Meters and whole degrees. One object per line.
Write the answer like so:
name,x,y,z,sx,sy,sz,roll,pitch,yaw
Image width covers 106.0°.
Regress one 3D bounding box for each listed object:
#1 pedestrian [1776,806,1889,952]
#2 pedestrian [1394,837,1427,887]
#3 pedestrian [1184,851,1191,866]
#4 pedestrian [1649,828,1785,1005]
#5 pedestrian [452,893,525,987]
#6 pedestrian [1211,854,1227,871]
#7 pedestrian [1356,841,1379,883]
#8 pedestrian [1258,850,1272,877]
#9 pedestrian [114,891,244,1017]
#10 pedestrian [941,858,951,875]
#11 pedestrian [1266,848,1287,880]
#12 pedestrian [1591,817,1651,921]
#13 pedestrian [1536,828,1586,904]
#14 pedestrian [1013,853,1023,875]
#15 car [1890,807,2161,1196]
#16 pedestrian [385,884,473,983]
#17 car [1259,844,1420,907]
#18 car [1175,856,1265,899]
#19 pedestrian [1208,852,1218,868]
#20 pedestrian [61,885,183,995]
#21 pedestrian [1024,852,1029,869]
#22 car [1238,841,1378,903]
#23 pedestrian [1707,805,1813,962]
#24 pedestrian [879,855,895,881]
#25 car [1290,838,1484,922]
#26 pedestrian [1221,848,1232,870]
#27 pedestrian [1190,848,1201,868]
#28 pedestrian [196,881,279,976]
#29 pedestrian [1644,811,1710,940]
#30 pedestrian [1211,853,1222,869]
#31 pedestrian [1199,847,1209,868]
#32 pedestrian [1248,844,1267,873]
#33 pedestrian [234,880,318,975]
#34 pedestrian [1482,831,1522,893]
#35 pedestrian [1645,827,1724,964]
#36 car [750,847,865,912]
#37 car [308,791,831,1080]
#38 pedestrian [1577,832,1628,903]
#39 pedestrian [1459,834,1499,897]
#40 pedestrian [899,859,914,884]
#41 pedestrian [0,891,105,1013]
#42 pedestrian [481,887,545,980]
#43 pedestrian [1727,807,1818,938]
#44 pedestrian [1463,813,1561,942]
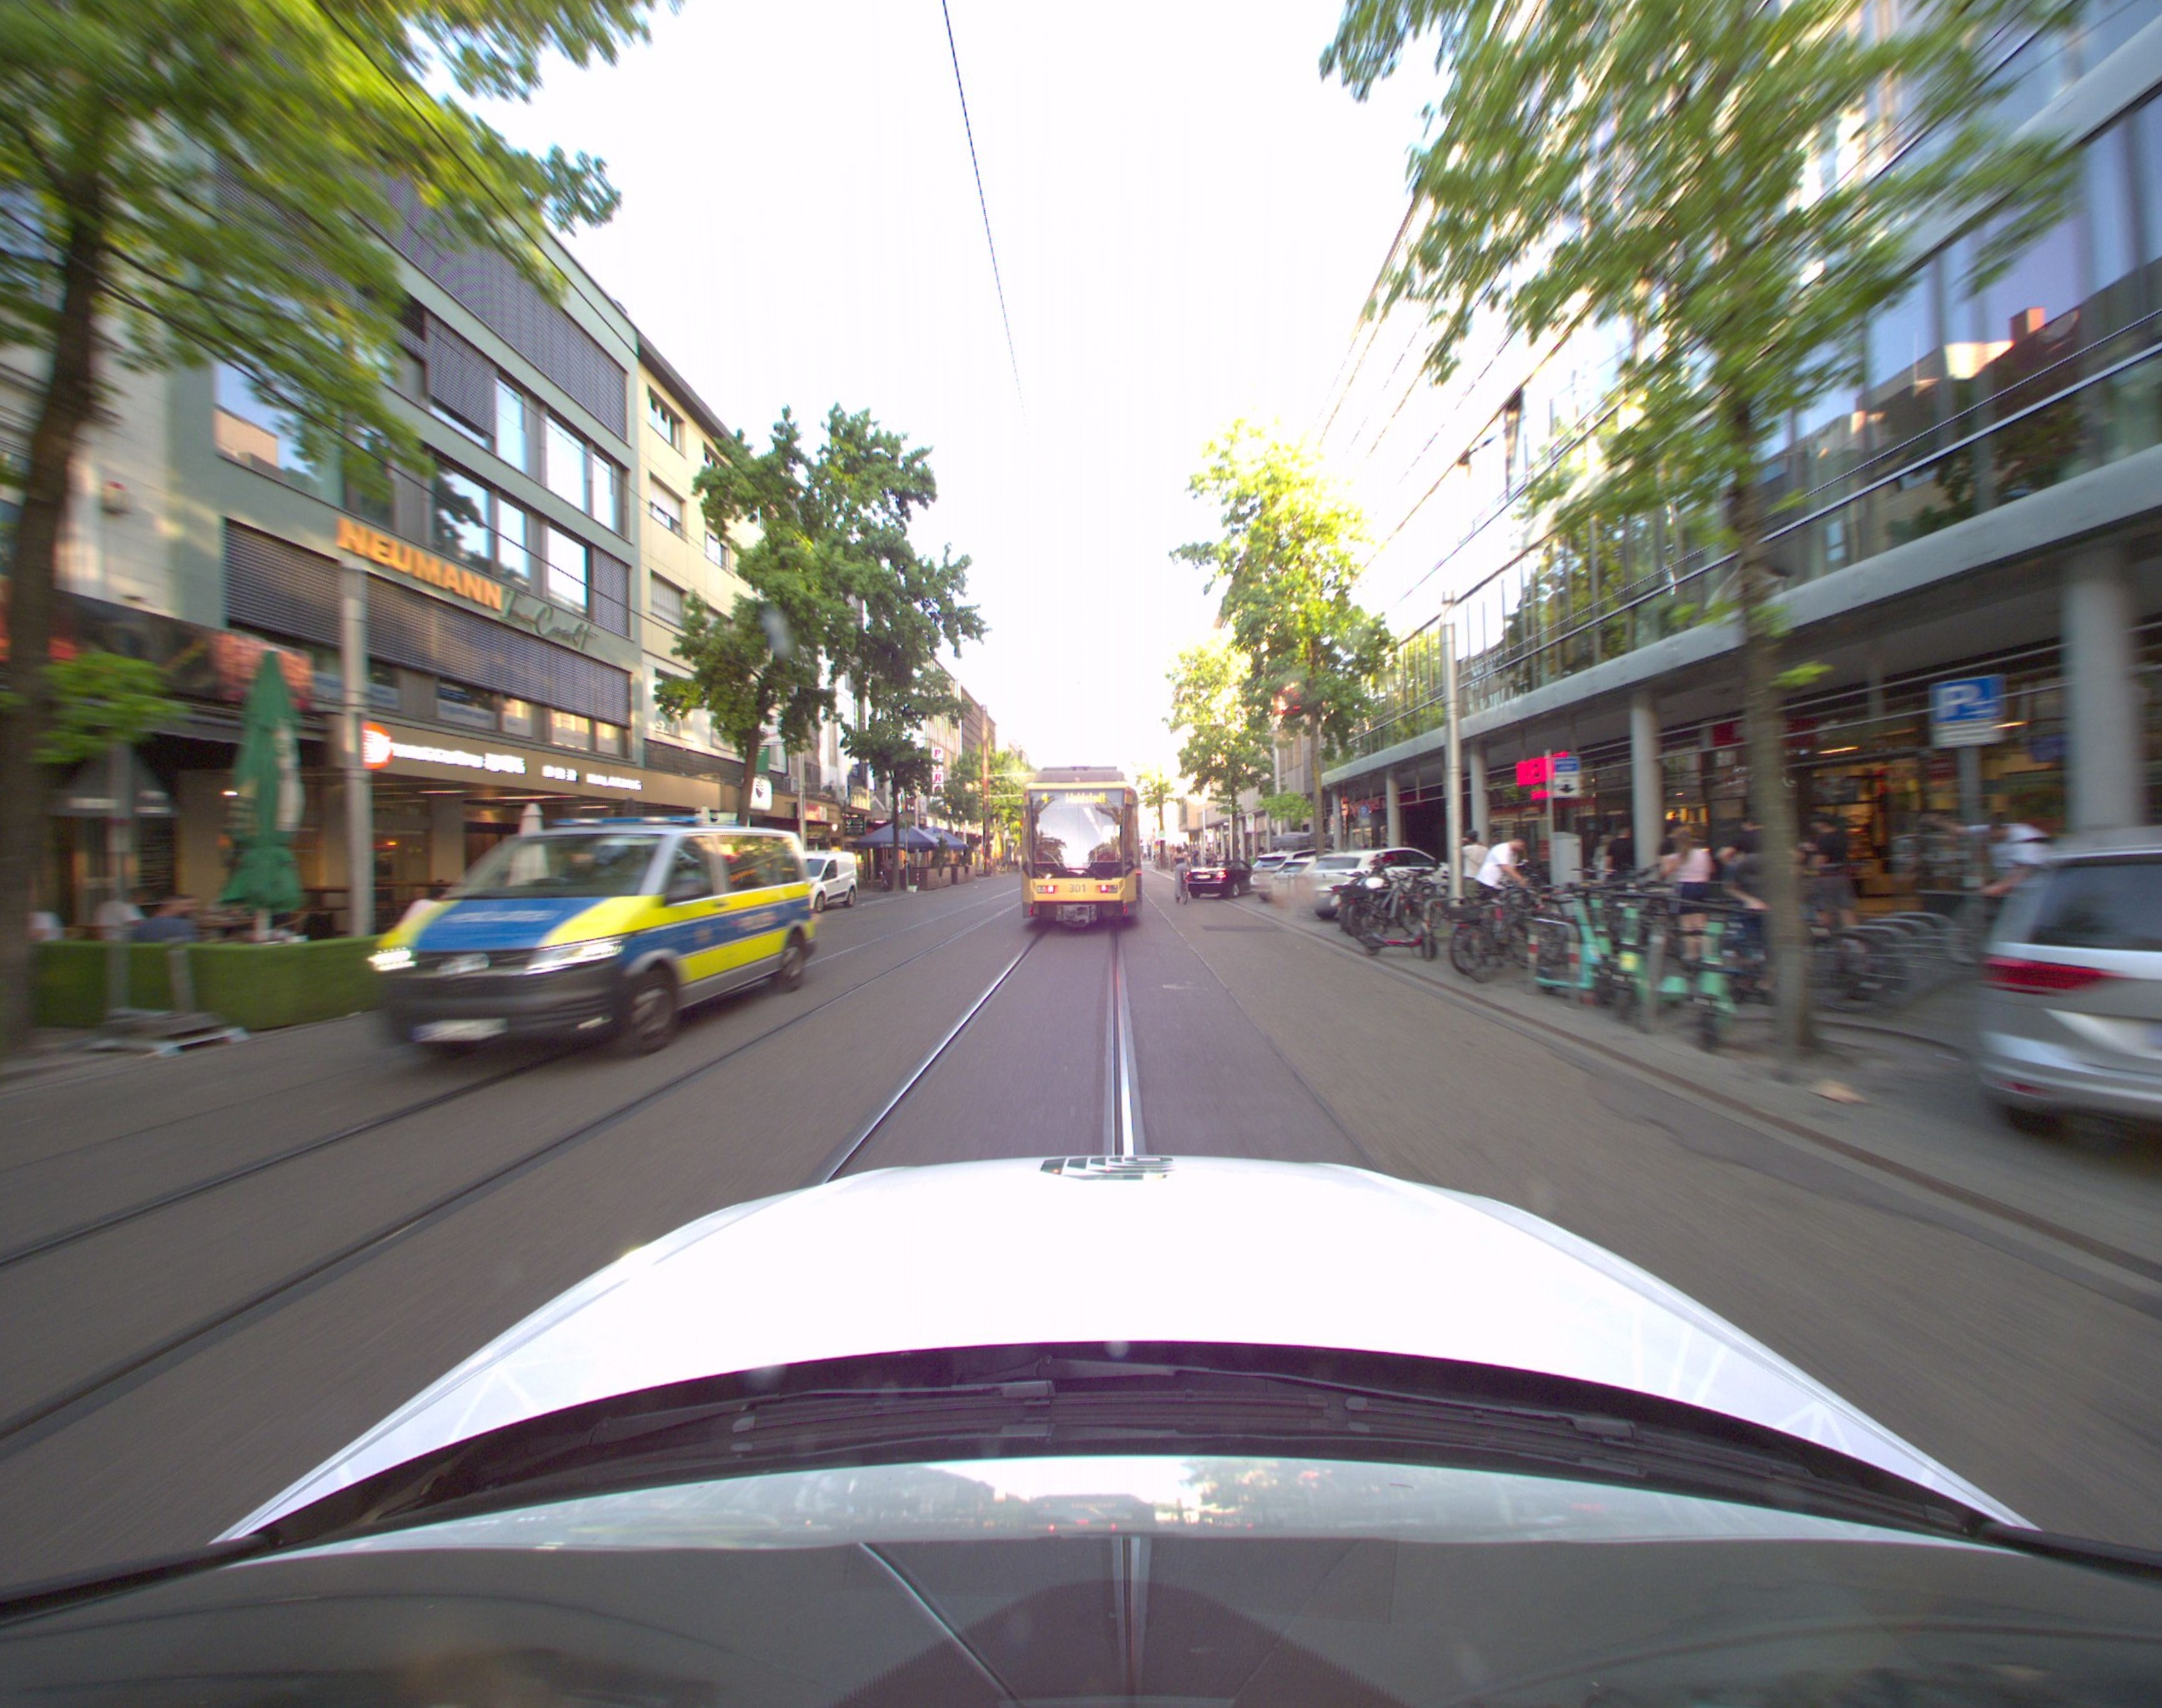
pedestrian,9.483,0.302,10.308,0.709,1.754,0.735,-3,0,14
pedestrian,12.337,0.295,30.493,0.874,1.782,0.755,-3,1,1
pedestrian,12.193,0.541,93.362,0.698,1.684,0.681,-3,1,2
pedestrian,6.168,0.587,7.954,0.783,1.625,0.773,-3,0,21
pedestrian,-8.407,1.205,11.579,0.549,1.266,0.642,-1,-1,3
pedestrian,11.217,0.657,66.169,1.107,1.328,0.927,-3,0,2
pedestrian,11.488,0.304,32.651,0.594,1.616,0.756,-3,1,1
pedestrian,11.239,0.595,49.813,0.594,1.616,0.756,-3,1,2
pedestrian,-9.567,1.039,8.662,0.705,1.265,0.600,-1,-1,2
pedestrian,-10.573,1.014,63.887,0.571,1.319,0.726,1,-1,2
pedestrian,9.654,0.478,40.271,0.874,1.581,0.755,0,1,1
pedestrian,9.714,0.266,14.640,0.782,1.812,0.664,-3,0,37
pedestrian,10.951,0.259,18.586,0.677,1.699,0.806,-1,1,1
pedestrian,-5.360,0.826,69.260,0.749,1.880,0.575,1,-1,-3
car,6.739,0.556,4.745,4.695,1.640,1.934,-3,0,-34
pedestrian,-9.271,1.115,11.601,0.641,1.346,0.731,-1,-1,3
car,7.524,0.592,23.718,4.188,1.457,1.850,-4,0,-22
car,5.223,0.822,30.067,1.784,1.348,4.474,-2,0,30
pedestrian,11.614,0.540,71.764,0.736,1.328,0.721,-3,1,2
pedestrian,-12.660,1.110,10.776,0.687,1.378,0.766,-1,-1,2
pedestrian,-5.534,0.638,82.723,0.549,1.687,0.575,1,-1,-2
car,7.376,0.542,26.420,4.221,1.637,1.902,-4,0,-30
pedestrian,8.286,0.342,9.990,0.876,1.812,0.943,-3,0,37
pedestrian,-9.723,0.710,40.874,0.601,1.256,0.561,2,-1,4
car,7.191,0.559,19.038,4.359,1.563,1.858,-4,0,-31
pedestrian,11.592,0.397,64.774,0.698,1.637,0.646,-3,1,2
pedestrian,10.522,0.369,74.730,0.885,1.782,0.751,-1,-1,0
pedestrian,-12.743,1.106,12.321,0.535,1.378,0.679,-1,-1,2
pedestrian,8.725,0.304,11.954,0.651,1.812,0.721,-3,0,32
pedestrian,11.665,0.575,69.931,0.803,1.328,0.626,-3,1,2
pedestrian,10.815,0.321,71.517,0.745,1.782,0.892,-1,-1,5
pedestrian,11.840,0.273,54.657,1.049,1.876,0.929,-3,1,2
pedestrian,-12.063,1.084,12.222,0.602,1.378,0.648,-1,-1,2
pedestrian,11.705,0.231,22.655,0.660,1.699,0.806,-1,-1,1
pedestrian,7.499,0.497,10.125,0.697,1.624,0.664,-3,0,37
car,-8.367,0.759,25.384,1.786,1.818,4.520,0,-1,4
car,-4.321,0.577,8.109,1.986,1.976,4.852,-1,0,2
pedestrian,11.597,0.307,18.116,0.677,1.548,0.665,-1,-1,1
pedestrian,10.922,0.312,22.374,0.677,1.699,0.806,-1,-1,1
pedestrian,-9.021,0.917,42.087,0.556,1.256,0.606,2,-1,2
pedestrian,-12.203,1.118,9.512,0.652,1.331,0.766,-1,-1,2
pedestrian,-8.757,1.206,12.576,0.577,1.378,0.565,-1,-1,2
pedestrian,10.049,0.261,11.858,0.654,1.812,0.718,-3,0,6
pedestrian,6.819,0.355,12.920,0.949,1.913,0.860,-4,1,-10
